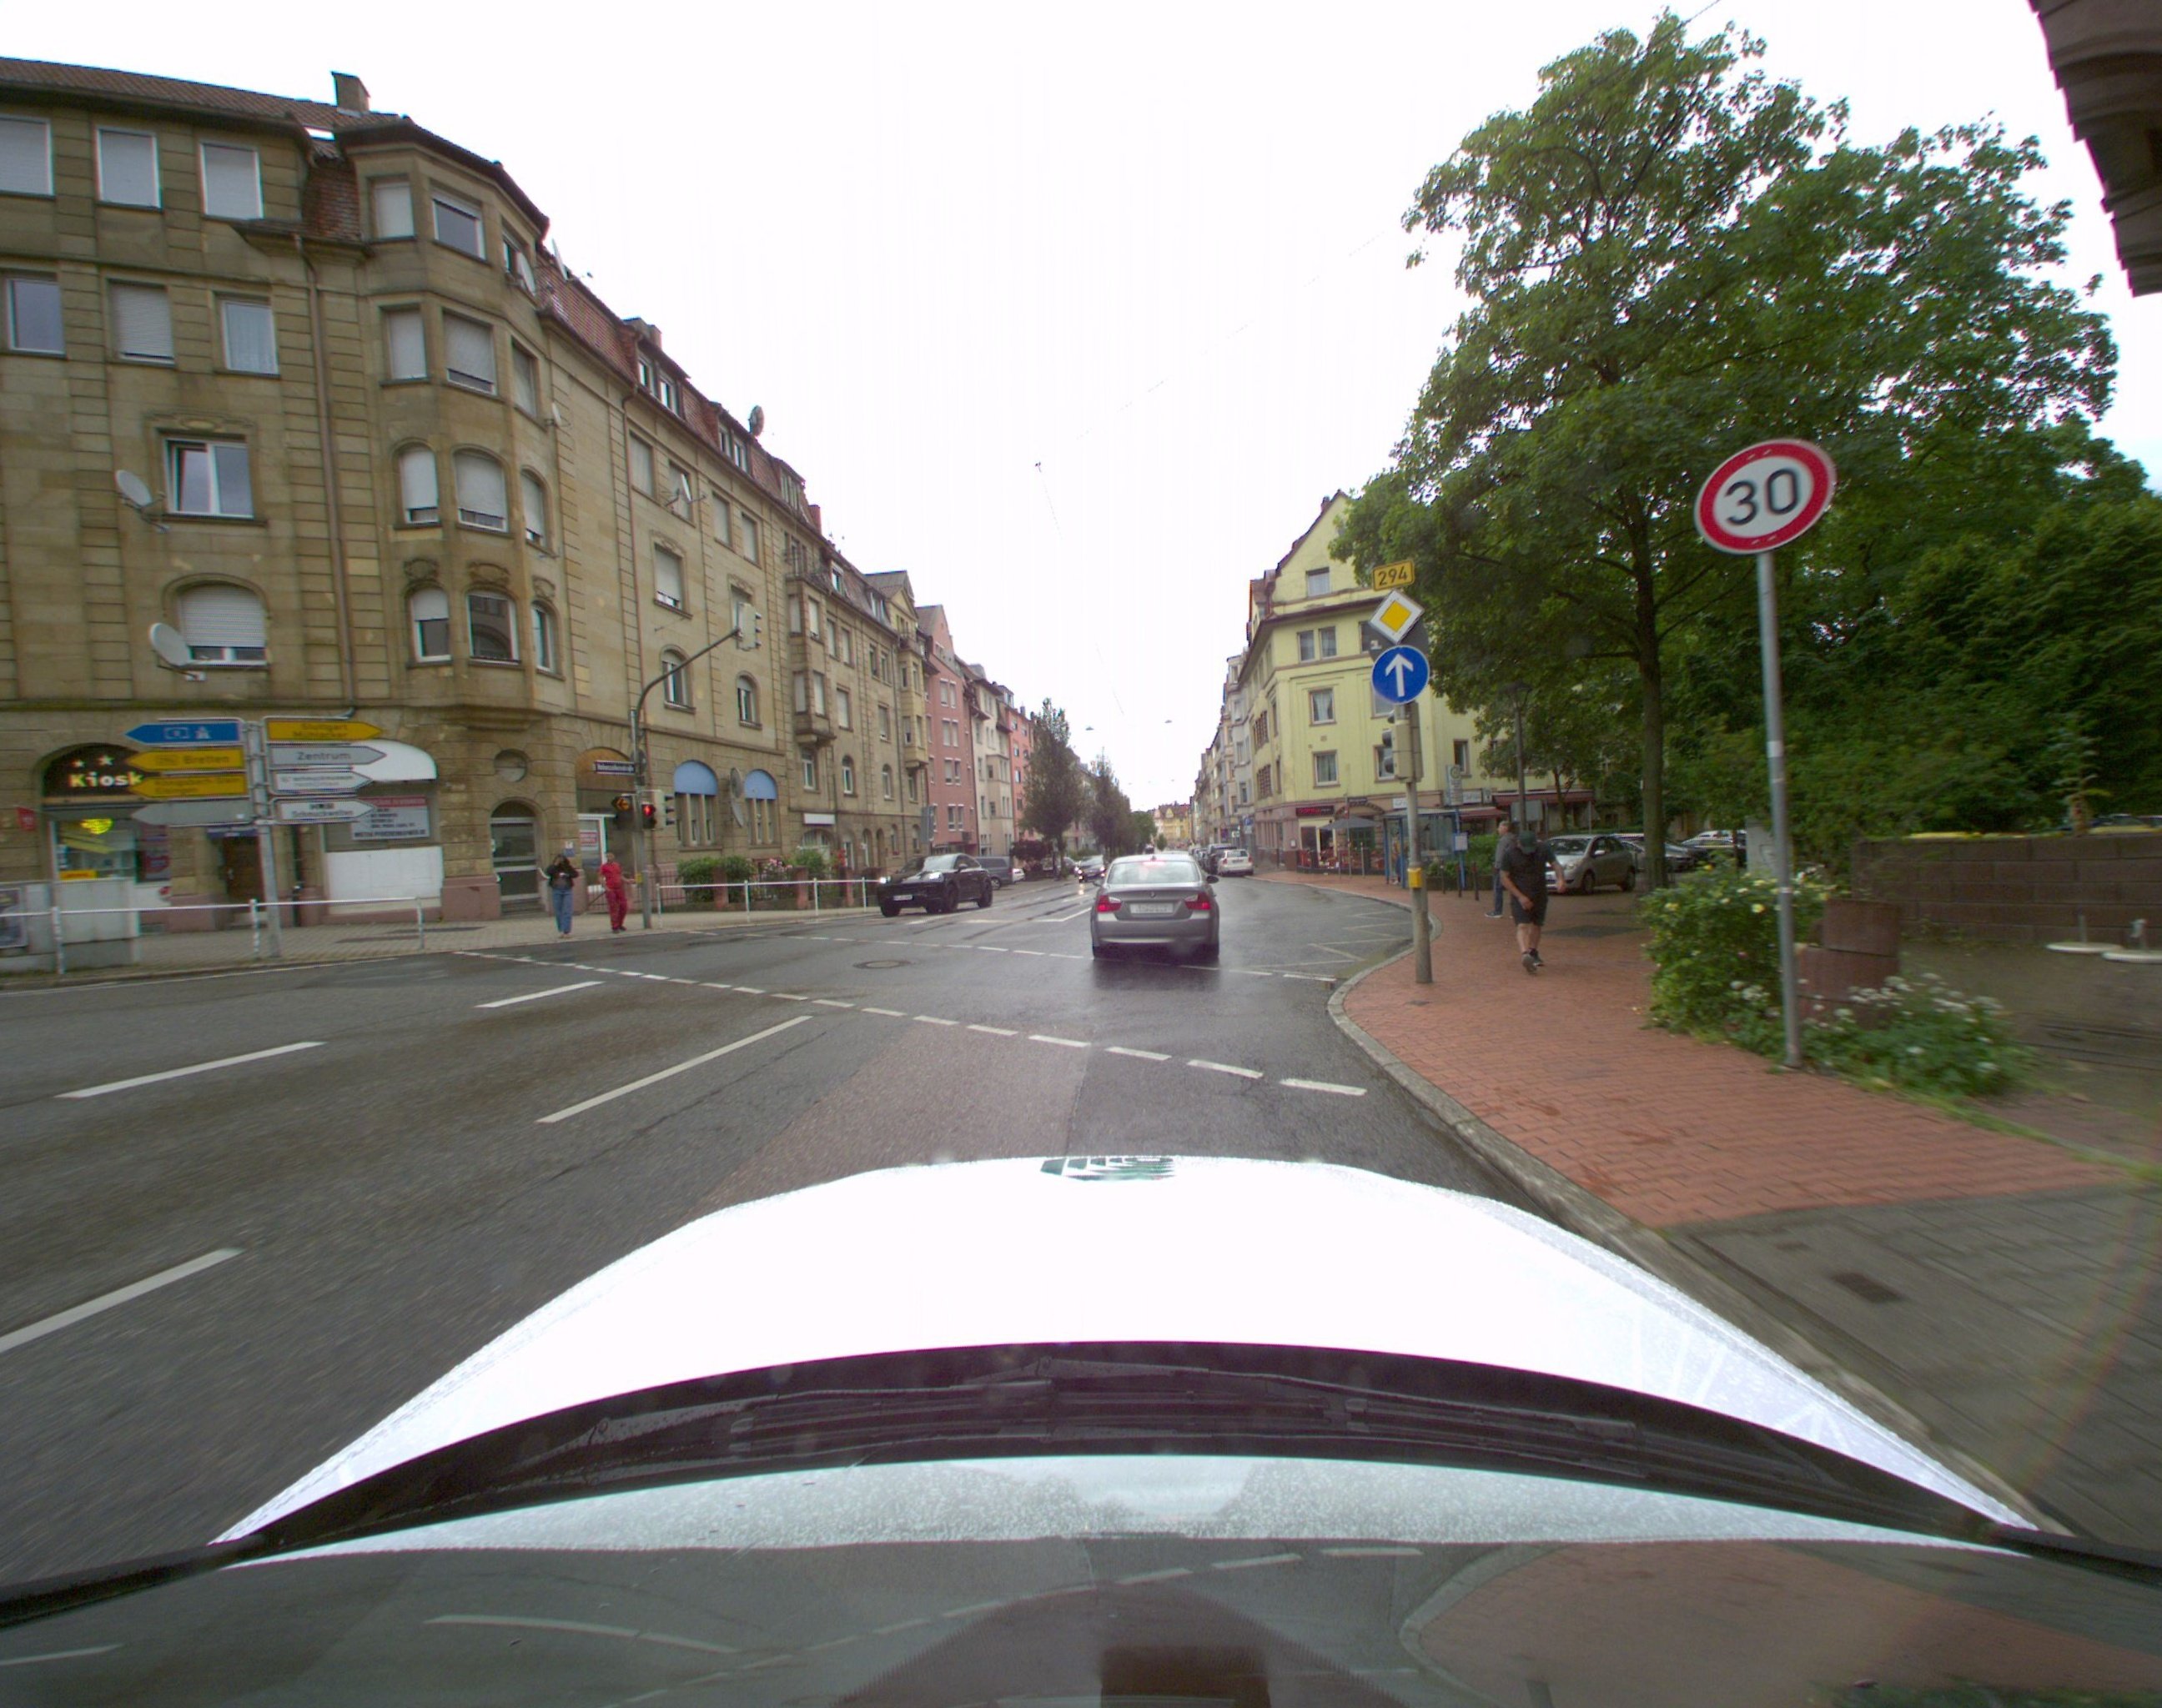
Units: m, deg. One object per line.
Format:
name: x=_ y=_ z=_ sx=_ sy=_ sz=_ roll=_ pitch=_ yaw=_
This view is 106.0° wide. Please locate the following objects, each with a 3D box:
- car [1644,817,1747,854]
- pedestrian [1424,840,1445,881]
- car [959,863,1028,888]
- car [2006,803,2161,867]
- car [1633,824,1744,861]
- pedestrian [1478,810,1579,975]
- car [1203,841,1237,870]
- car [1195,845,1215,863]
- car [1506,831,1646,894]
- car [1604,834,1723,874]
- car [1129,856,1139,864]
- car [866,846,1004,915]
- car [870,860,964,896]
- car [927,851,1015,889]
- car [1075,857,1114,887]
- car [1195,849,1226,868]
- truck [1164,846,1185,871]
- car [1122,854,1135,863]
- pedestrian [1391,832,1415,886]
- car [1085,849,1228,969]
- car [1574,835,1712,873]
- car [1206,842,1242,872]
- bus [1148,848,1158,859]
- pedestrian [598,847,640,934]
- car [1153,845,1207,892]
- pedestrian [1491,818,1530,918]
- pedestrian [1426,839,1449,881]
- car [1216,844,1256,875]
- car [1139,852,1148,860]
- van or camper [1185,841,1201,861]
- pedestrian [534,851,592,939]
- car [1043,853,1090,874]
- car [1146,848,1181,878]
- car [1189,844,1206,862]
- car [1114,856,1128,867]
car: x=32.289 y=-0.955 z=42.873 sx=1.799 sy=1.789 sz=3.959 roll=-1 pitch=0 yaw=-33
pedestrian: x=11.245 y=0.195 z=25.920 sx=0.564 sy=1.280 sz=0.622 roll=-1 pitch=0 yaw=19
car: x=-6.278 y=1.537 z=58.747 sx=4.525 sy=1.401 sz=1.771 roll=-4 pitch=-1 yaw=6
car: x=28.459 y=-0.533 z=22.211 sx=1.883 sy=1.528 sz=3.958 roll=-1 pitch=-3 yaw=-33
car: x=29.623 y=-0.528 z=39.796 sx=1.799 sy=1.727 sz=3.959 roll=-1 pitch=0 yaw=-33
pedestrian: x=4.907 y=0.391 z=8.918 sx=0.820 sy=1.678 sz=0.900 roll=-1 pitch=0 yaw=37
car: x=9.689 y=0.117 z=57.091 sx=1.909 sy=1.827 sz=5.018 roll=-4 pitch=-1 yaw=6
car: x=14.509 y=0.007 z=95.260 sx=1.971 sy=2.007 sz=4.633 roll=-4 pitch=-1 yaw=6
car: x=12.829 y=0.188 z=21.073 sx=3.689 sy=1.502 sz=1.752 roll=0 pitch=1 yaw=-35
car: x=26.314 y=0.006 z=36.908 sx=1.799 sy=1.727 sz=3.959 roll=-1 pitch=0 yaw=-33
car: x=10.742 y=1.184 z=164.688 sx=1.681 sy=1.523 sz=3.744 roll=-5 pitch=-1 yaw=8
car: x=-3.983 y=0.721 z=23.235 sx=1.950 sy=1.693 sz=4.826 roll=-3 pitch=-1 yaw=15
car: x=-8.068 y=1.171 z=40.259 sx=4.126 sy=1.510 sz=1.877 roll=-3 pitch=0 yaw=6
car: x=-6.076 y=0.874 z=45.426 sx=4.664 sy=1.938 sz=1.861 roll=-1 pitch=0 yaw=-4
car: x=0.918 y=1.131 z=52.075 sx=1.611 sy=1.649 sz=4.433 roll=-6 pitch=-1 yaw=10
car: x=10.866 y=0.393 z=68.811 sx=1.869 sy=1.467 sz=4.774 roll=-2 pitch=-1 yaw=0
truck: x=9.697 y=0.486 z=84.488 sx=2.022 sy=2.412 sz=4.834 roll=-2 pitch=-1 yaw=6
car: x=8.457 y=0.812 z=144.461 sx=1.817 sy=1.523 sz=3.744 roll=-5 pitch=-1 yaw=8
pedestrian: x=10.810 y=0.161 z=27.359 sx=0.553 sy=1.775 sz=0.549 roll=-1 pitch=0 yaw=42
car: x=1.052 y=0.687 z=12.191 sx=1.762 sy=1.428 sz=3.744 roll=-2 pitch=1 yaw=3
car: x=24.303 y=-0.003 z=35.402 sx=1.799 sy=1.528 sz=4.600 roll=-1 pitch=0 yaw=-33
car: x=8.904 y=0.184 z=51.004 sx=1.869 sy=1.731 sz=4.685 roll=-2 pitch=0 yaw=6
bus: x=22.220 y=-0.183 z=251.499 sx=2.655 sy=3.024 sz=7.684 roll=-4 pitch=-1 yaw=6
pedestrian: x=-9.754 y=0.757 z=17.221 sx=0.695 sy=1.774 sz=0.520 roll=-1 pitch=0 yaw=-26
car: x=3.412 y=0.478 z=27.942 sx=1.672 sy=1.428 sz=3.749 roll=-2 pitch=-1 yaw=8
pedestrian: x=7.690 y=0.238 z=14.583 sx=0.566 sy=1.733 sz=0.736 roll=-1 pitch=0 yaw=29
pedestrian: x=11.076 y=0.191 z=25.311 sx=0.565 sy=1.280 sz=0.537 roll=-1 pitch=0 yaw=19
car: x=8.617 y=0.308 z=45.589 sx=1.790 sy=1.565 sz=4.499 roll=-2 pitch=0 yaw=5
car: x=13.152 y=0.511 z=170.414 sx=1.627 sy=1.508 sz=3.761 roll=-6 pitch=-1 yaw=6
van or camper: x=16.524 y=-0.418 z=120.282 sx=2.020 sy=2.869 sz=6.904 roll=0 pitch=0 yaw=10
pedestrian: x=-10.386 y=0.794 z=16.331 sx=0.834 sy=1.702 sz=0.631 roll=-1 pitch=0 yaw=-44
car: x=-1.557 y=1.049 z=89.736 sx=4.804 sy=1.974 sz=2.051 roll=-4 pitch=-1 yaw=6
car: x=4.442 y=0.470 z=43.447 sx=1.688 sy=1.483 sz=3.801 roll=-2 pitch=-1 yaw=7
car: x=15.661 y=-0.117 z=109.795 sx=1.971 sy=2.166 sz=4.758 roll=-4 pitch=-1 yaw=6
car: x=6.040 y=1.115 z=123.056 sx=1.758 sy=1.593 sz=4.006 roll=-5 pitch=-1 yaw=5
